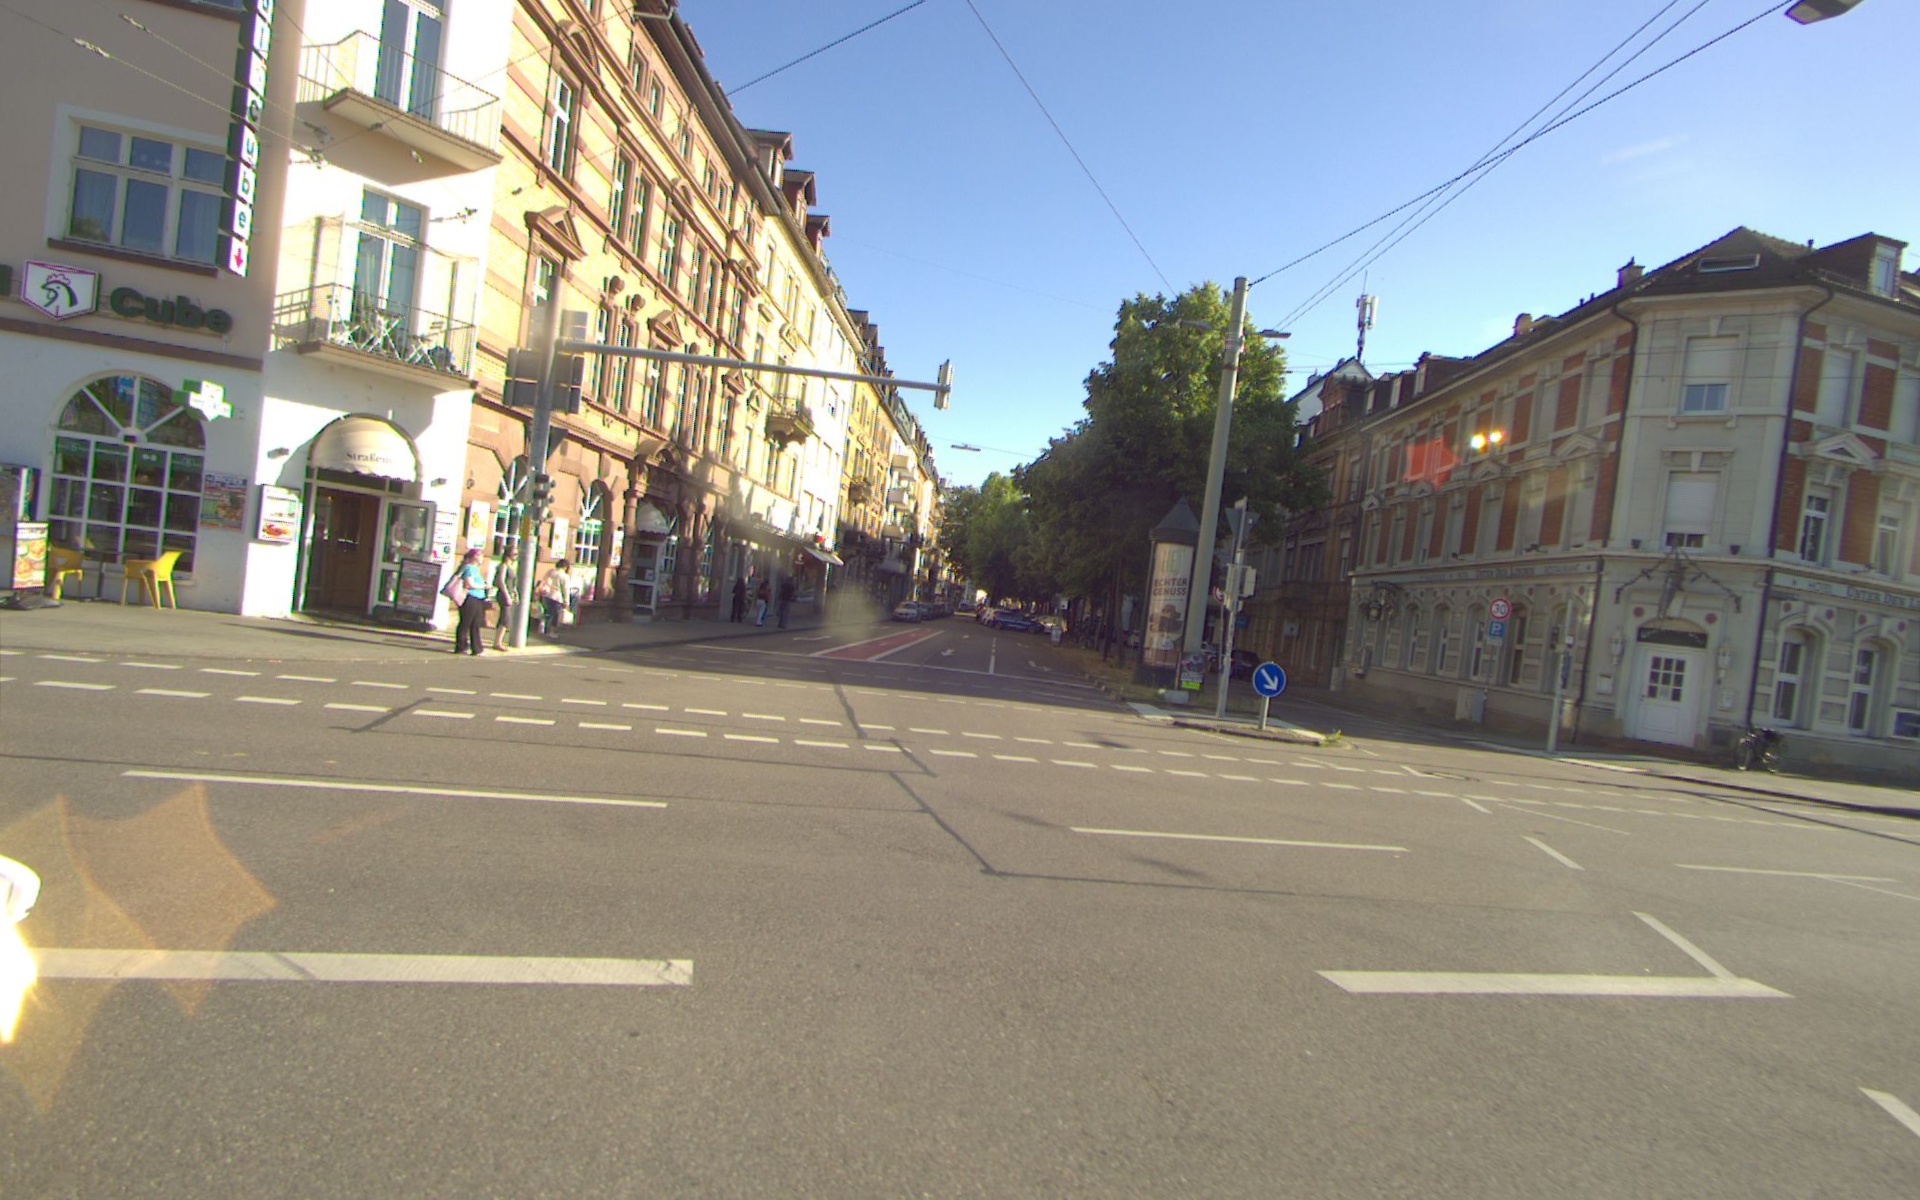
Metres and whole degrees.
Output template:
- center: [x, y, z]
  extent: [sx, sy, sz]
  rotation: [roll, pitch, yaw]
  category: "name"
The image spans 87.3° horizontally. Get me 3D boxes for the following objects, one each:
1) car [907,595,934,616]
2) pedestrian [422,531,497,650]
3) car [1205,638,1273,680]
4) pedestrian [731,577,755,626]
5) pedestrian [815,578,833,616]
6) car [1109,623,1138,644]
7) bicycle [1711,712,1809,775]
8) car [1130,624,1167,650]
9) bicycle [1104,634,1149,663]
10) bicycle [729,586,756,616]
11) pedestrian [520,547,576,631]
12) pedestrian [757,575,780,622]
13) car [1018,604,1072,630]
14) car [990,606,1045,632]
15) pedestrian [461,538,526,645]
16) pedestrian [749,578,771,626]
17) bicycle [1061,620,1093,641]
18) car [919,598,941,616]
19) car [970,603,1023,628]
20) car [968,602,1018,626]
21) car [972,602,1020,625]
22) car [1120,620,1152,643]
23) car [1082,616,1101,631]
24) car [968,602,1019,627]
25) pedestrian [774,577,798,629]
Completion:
- center: [-3.312, 0.442, 85.062]
  extent: [1.963, 1.516, 4.031]
  rotation: [7, 1, -1]
  category: "car"
- center: [-7.416, -0.135, 14.929]
  extent: [0.665, 1.663, 0.578]
  rotation: [7, 2, -2]
  category: "pedestrian"
- center: [13.267, 2.766, 48.105]
  extent: [1.963, 1.516, 4.031]
  rotation: [7, 1, -1]
  category: "car"
- center: [-7.774, 0.052, 36.031]
  extent: [0.618, 1.663, 0.537]
  rotation: [6, 2, -5]
  category: "pedestrian"
- center: [-7.286, -0.159, 53.917]
  extent: [0.671, 1.933, 0.632]
  rotation: [7, 2, 1]
  category: "pedestrian"
- center: [14.754, 2.965, 90.775]
  extent: [1.962, 1.516, 4.032]
  rotation: [7, 1, 3]
  category: "car"
- center: [18.700, 3.347, 23.521]
  extent: [1.934, 1.206, 0.545]
  rotation: [7, 2, -10]
  category: "bicycle"
- center: [13.861, 2.681, 74.126]
  extent: [1.962, 1.516, 4.032]
  rotation: [7, 1, 3]
  category: "car"
- center: [7.750, 2.255, 46.968]
  extent: [1.921, 1.081, 0.581]
  rotation: [8, 2, 39]
  category: "bicycle"
- center: [-8.463, 0.032, 39.233]
  extent: [0.487, 1.081, 1.769]
  rotation: [7, 1, 2]
  category: "bicycle"
- center: [-8.074, -0.213, 19.728]
  extent: [0.682, 1.544, 0.659]
  rotation: [7, 2, -1]
  category: "pedestrian"
- center: [-7.035, -0.062, 37.026]
  extent: [0.542, 1.663, 0.632]
  rotation: [7, 2, -1]
  category: "pedestrian"
- center: [6.883, 1.395, 81.668]
  extent: [3.924, 1.565, 2.000]
  rotation: [7, 1, 16]
  category: "car"
- center: [4.607, 1.513, 79.969]
  extent: [3.924, 1.565, 2.000]
  rotation: [7, 1, 13]
  category: "car"
- center: [-7.634, -0.139, 16.467]
  extent: [0.621, 1.662, 0.552]
  rotation: [8, 2, -2]
  category: "pedestrian"
- center: [-7.154, 0.057, 36.008]
  extent: [0.542, 1.663, 0.537]
  rotation: [7, 2, -4]
  category: "pedestrian"
- center: [7.424, 1.913, 63.888]
  extent: [1.921, 1.081, 0.581]
  rotation: [8, 2, 39]
  category: "bicycle"
- center: [-2.939, 0.682, 99.430]
  extent: [1.963, 1.516, 4.031]
  rotation: [7, 1, -1]
  category: "car"
- center: [3.011, 1.256, 83.238]
  extent: [3.924, 1.565, 2.000]
  rotation: [7, 1, 13]
  category: "car"
- center: [2.909, 1.242, 88.719]
  extent: [3.924, 1.565, 2.000]
  rotation: [7, 1, 13]
  category: "car"
- center: [3.324, 1.233, 92.760]
  extent: [3.924, 1.565, 2.000]
  rotation: [7, 1, 13]
  category: "car"
- center: [14.563, 2.618, 83.277]
  extent: [1.962, 1.516, 4.032]
  rotation: [7, 1, 3]
  category: "car"
- center: [16.396, 2.935, 125.655]
  extent: [1.962, 1.516, 4.032]
  rotation: [7, 1, 3]
  category: "car"
- center: [2.884, 1.241, 86.073]
  extent: [3.924, 1.565, 2.000]
  rotation: [7, 1, 13]
  category: "car"
- center: [-6.454, 0.094, 37.356]
  extent: [0.571, 1.860, 0.632]
  rotation: [7, 2, 1]
  category: "pedestrian"
